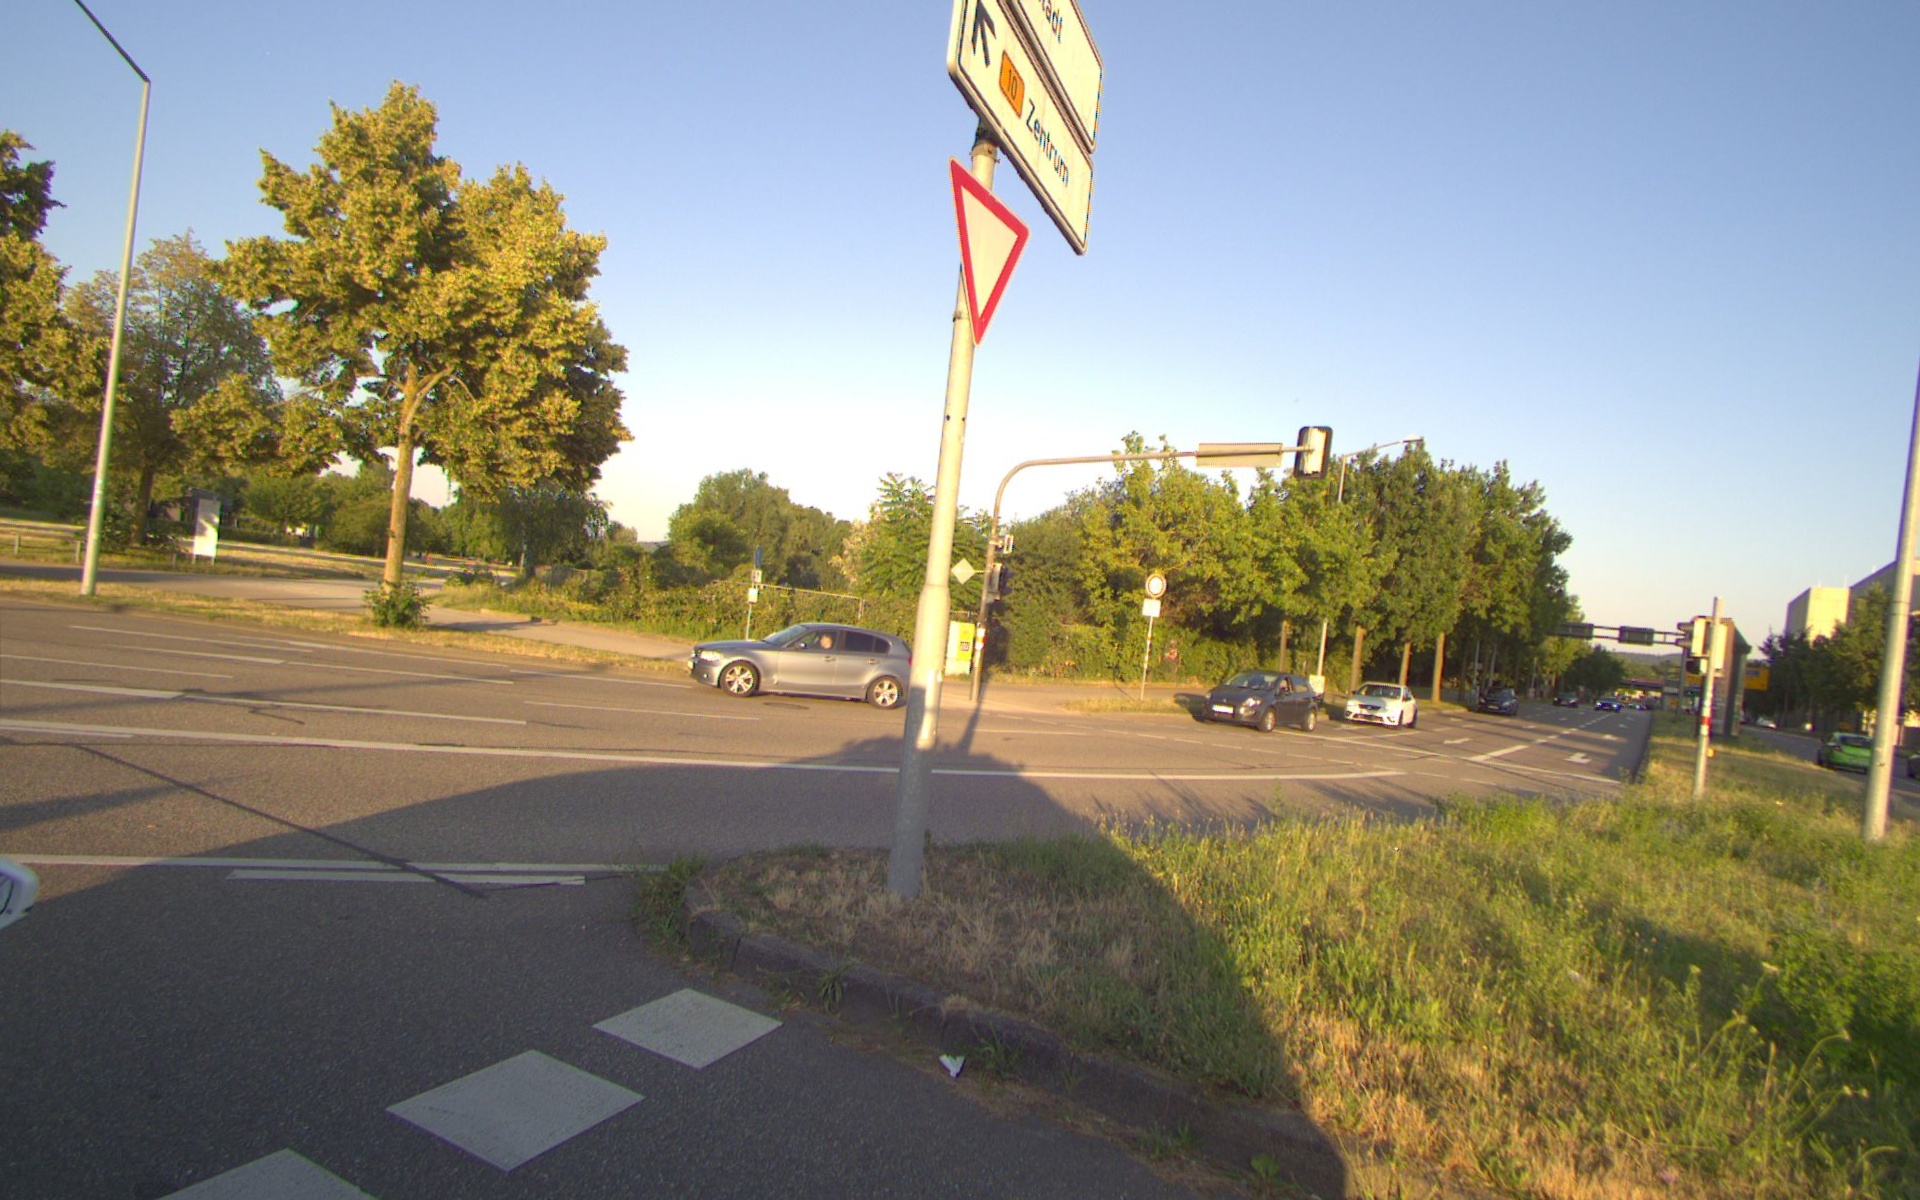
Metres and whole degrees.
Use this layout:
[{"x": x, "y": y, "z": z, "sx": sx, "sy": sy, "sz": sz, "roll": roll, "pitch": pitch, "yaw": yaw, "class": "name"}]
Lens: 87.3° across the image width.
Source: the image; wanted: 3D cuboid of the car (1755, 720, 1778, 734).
[{"x": 105.160, "y": 16.494, "z": 131.154, "sx": 1.969, "sy": 1.444, "sz": 4.186, "roll": 7, "pitch": -1, "yaw": 36, "class": "car"}]

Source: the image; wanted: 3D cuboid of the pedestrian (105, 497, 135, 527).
[{"x": -52.193, "y": -5.467, "z": 62.502, "sx": 0.896, "sy": 1.637, "sz": 1.070, "roll": 7, "pitch": 0, "yaw": 34, "class": "pedestrian"}]

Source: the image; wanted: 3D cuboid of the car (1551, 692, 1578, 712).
[{"x": 58.033, "y": 9.785, "z": 96.601, "sx": 1.967, "sy": 1.523, "sz": 4.611, "roll": 7, "pitch": -1, "yaw": 33, "class": "car"}]

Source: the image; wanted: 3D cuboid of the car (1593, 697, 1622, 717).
[{"x": 60.455, "y": 9.968, "z": 93.950, "sx": 1.969, "sy": 1.523, "sz": 4.758, "roll": 7, "pitch": -1, "yaw": 35, "class": "car"}]

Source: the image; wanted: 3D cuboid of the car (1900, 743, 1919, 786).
[{"x": 39.156, "y": 6.686, "z": 39.991, "sx": 1.706, "sy": 1.597, "sz": 4.320, "roll": 7, "pitch": -1, "yaw": 33, "class": "car"}]

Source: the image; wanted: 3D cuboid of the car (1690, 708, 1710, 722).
[{"x": 105.133, "y": 16.266, "z": 142.872, "sx": 1.968, "sy": 1.648, "sz": 3.990, "roll": 7, "pitch": -1, "yaw": 34, "class": "car"}]

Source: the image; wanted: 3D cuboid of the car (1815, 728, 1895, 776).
[{"x": 34.884, "y": 5.881, "z": 39.299, "sx": 1.662, "sy": 1.437, "sz": 3.990, "roll": 7, "pitch": -1, "yaw": 34, "class": "car"}]

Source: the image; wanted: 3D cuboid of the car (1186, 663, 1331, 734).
[{"x": 7.569, "y": 2.495, "z": 25.274, "sx": 1.843, "sy": 1.471, "sz": 4.144, "roll": 4, "pitch": -3, "yaw": 41, "class": "car"}]

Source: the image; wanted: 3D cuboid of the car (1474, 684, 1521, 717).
[{"x": 31.533, "y": 5.903, "z": 58.950, "sx": 1.885, "sy": 1.602, "sz": 4.171, "roll": 7, "pitch": -1, "yaw": 33, "class": "car"}]

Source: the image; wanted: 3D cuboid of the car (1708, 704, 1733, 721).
[{"x": 88.452, "y": 13.121, "z": 117.002, "sx": 1.968, "sy": 1.648, "sz": 3.990, "roll": 7, "pitch": -1, "yaw": 35, "class": "car"}]

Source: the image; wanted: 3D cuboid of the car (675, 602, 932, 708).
[{"x": -2.802, "y": 0.988, "z": 18.024, "sx": 4.110, "sy": 1.406, "sz": 1.857, "roll": 7, "pitch": -2, "yaw": -25, "class": "car"}]

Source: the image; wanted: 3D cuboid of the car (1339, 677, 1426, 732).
[{"x": 14.075, "y": 3.449, "z": 33.383, "sx": 1.838, "sy": 1.471, "sz": 3.962, "roll": 7, "pitch": -1, "yaw": 34, "class": "car"}]
